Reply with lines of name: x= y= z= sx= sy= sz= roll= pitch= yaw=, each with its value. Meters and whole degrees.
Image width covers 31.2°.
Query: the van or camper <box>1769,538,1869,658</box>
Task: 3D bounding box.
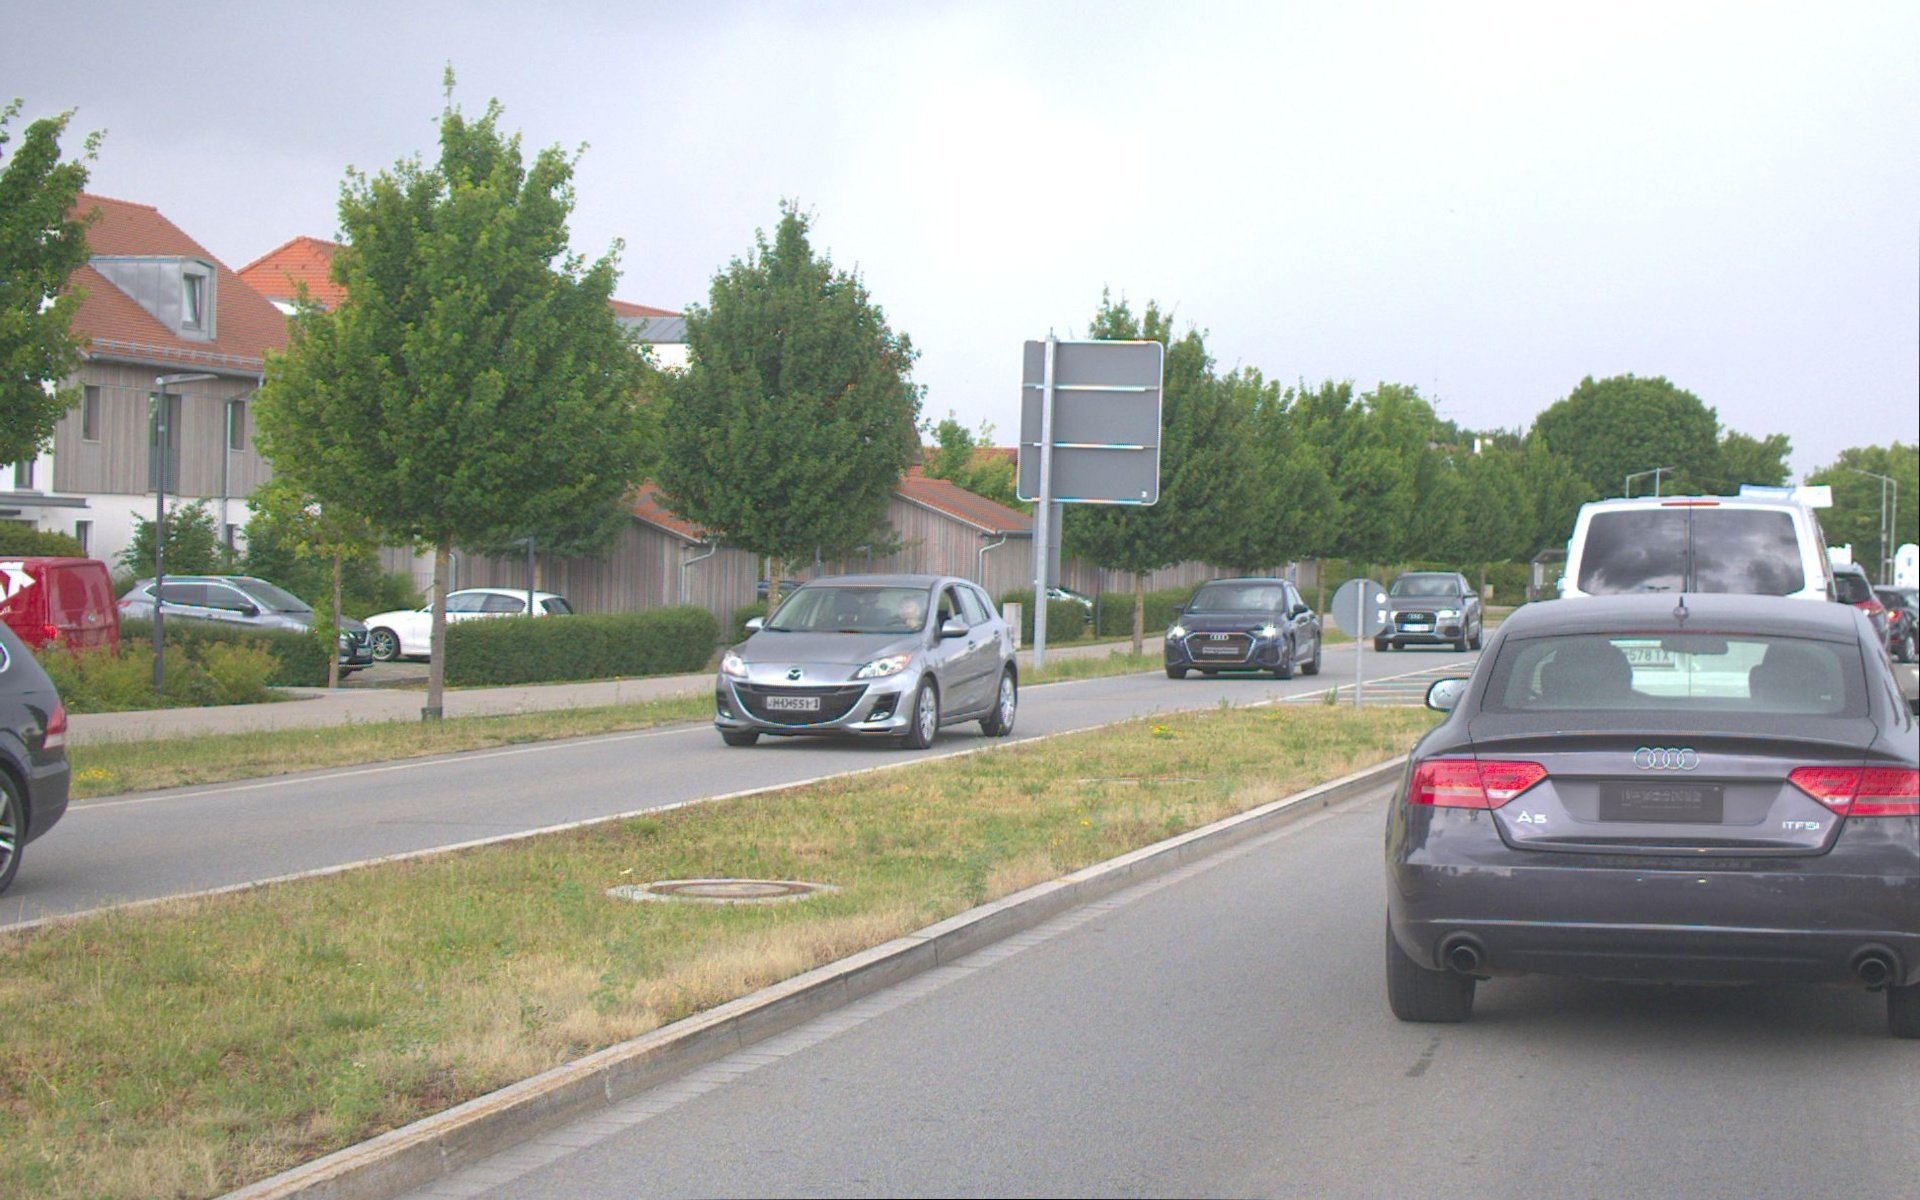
van or camper: x=25.236 y=-0.044 z=101.022 sx=2.626 sy=3.312 sz=6.816 roll=2 pitch=0 yaw=14

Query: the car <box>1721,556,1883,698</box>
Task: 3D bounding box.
car: x=10.428 y=0.311 z=42.422 sx=1.778 sy=1.612 sz=3.997 roll=2 pitch=1 yaw=15

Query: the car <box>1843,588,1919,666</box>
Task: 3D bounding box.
car: x=17.242 y=0.493 z=64.067 sx=1.440 sy=1.368 sz=3.510 roll=2 pitch=0 yaw=15

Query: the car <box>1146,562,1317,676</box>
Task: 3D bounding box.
car: x=3.961 y=0.252 z=49.618 sx=1.868 sy=1.568 sz=3.998 roll=1 pitch=0 yaw=13

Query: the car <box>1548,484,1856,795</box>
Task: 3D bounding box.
car: x=5.191 y=0.239 z=24.023 sx=1.868 sy=1.927 sz=3.998 roll=2 pitch=1 yaw=13

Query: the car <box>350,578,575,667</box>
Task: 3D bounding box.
car: x=-9.188 y=0.395 z=63.607 sx=3.731 sy=1.477 sz=1.685 roll=2 pitch=1 yaw=12

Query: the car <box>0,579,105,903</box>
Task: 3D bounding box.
car: x=-5.380 y=0.617 z=13.965 sx=1.755 sy=1.411 sz=4.452 roll=0 pitch=0 yaw=15

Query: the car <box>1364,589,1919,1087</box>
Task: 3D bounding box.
car: x=2.528 y=0.676 z=11.974 sx=1.785 sy=1.387 sz=4.130 roll=1 pitch=0 yaw=13

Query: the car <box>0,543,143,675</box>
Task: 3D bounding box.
car: x=-13.491 y=0.058 z=46.046 sx=4.534 sy=1.674 sz=1.998 roll=2 pitch=1 yaw=18

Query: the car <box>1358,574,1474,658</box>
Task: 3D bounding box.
car: x=9.158 y=0.312 z=68.780 sx=1.868 sy=1.568 sz=3.998 roll=2 pitch=1 yaw=13

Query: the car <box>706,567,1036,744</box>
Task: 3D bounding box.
car: x=-0.685 y=0.441 z=29.818 sx=1.731 sy=1.405 sz=4.203 roll=1 pitch=0 yaw=15

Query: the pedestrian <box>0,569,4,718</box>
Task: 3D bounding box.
pedestrian: x=-10.351 y=0.450 z=35.615 sx=0.582 sy=1.553 sz=0.659 roll=2 pitch=1 yaw=13

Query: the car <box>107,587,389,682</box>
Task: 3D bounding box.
car: x=-11.222 y=0.531 z=54.259 sx=3.917 sy=1.310 sz=1.841 roll=2 pitch=1 yaw=13
